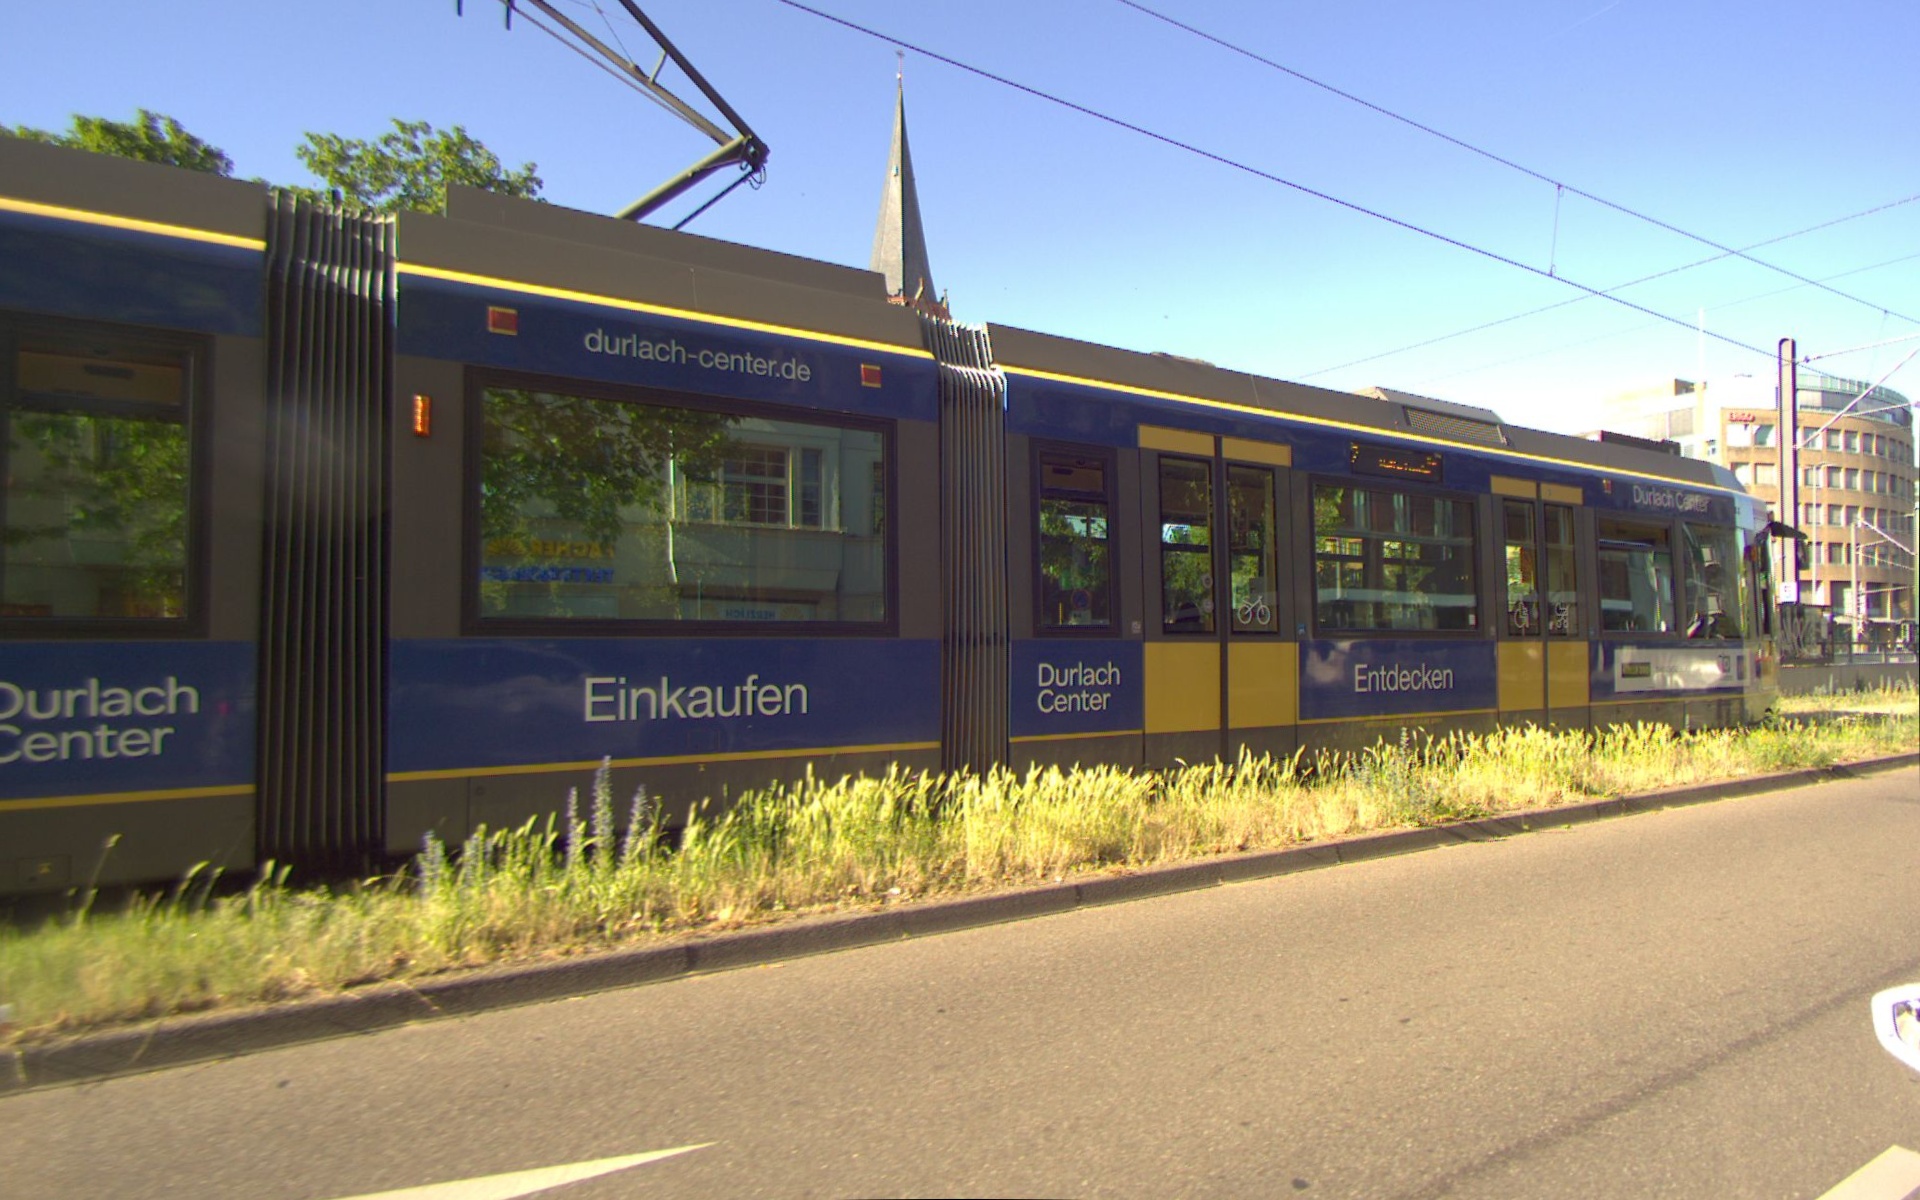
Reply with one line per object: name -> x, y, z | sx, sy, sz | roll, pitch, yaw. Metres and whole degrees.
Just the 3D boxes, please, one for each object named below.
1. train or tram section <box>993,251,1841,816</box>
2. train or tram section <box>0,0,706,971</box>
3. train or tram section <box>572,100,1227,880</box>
train or tram section -> 5.661, -0.347, 11.055 | 10.679, 3.949, 2.938 | 2, 0, -31
train or tram section -> -8.075, -0.658, 2.664 | 14.113, 3.863, 2.913 | 2, 0, -32
train or tram section -> -0.536, -0.519, 7.345 | 3.821, 3.949, 2.940 | 1, 0, -31
